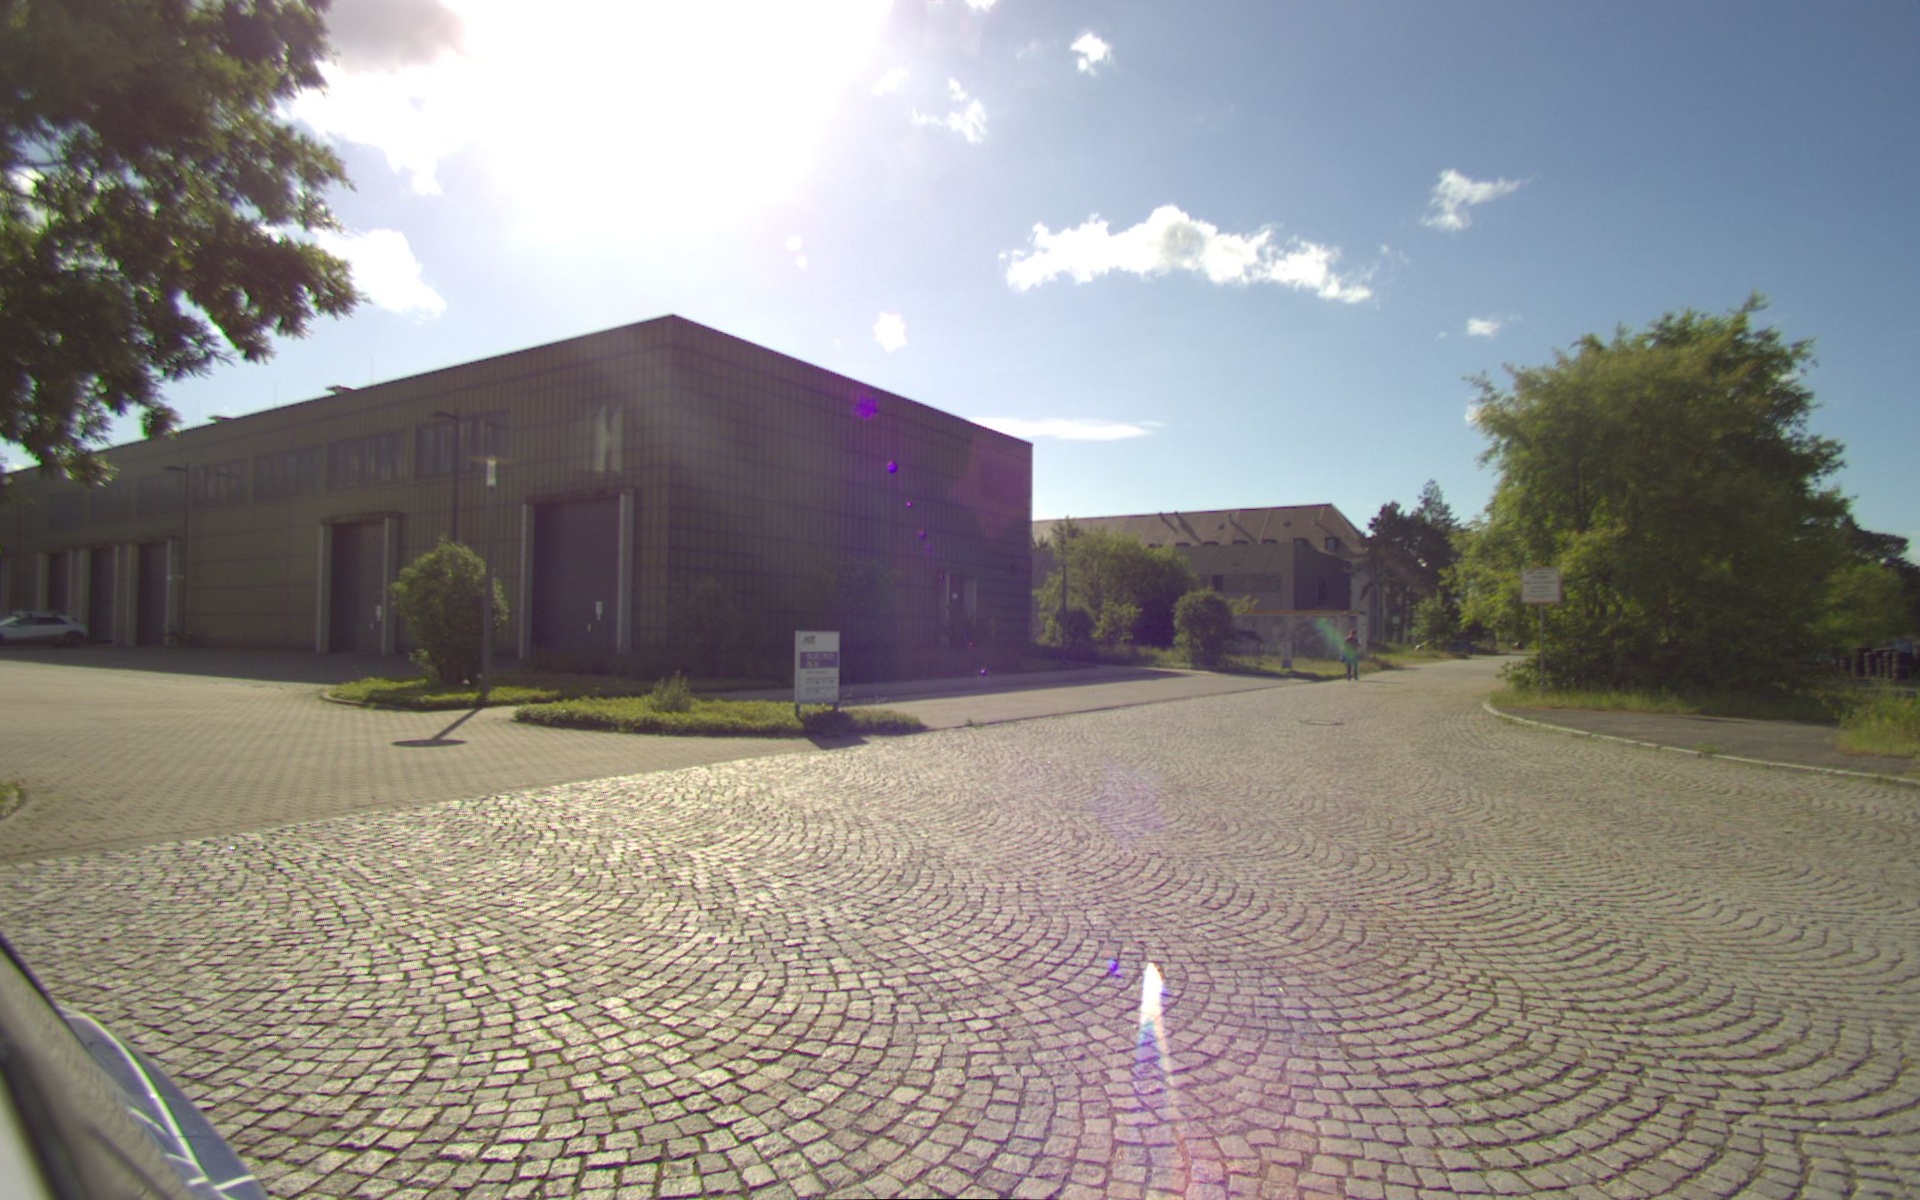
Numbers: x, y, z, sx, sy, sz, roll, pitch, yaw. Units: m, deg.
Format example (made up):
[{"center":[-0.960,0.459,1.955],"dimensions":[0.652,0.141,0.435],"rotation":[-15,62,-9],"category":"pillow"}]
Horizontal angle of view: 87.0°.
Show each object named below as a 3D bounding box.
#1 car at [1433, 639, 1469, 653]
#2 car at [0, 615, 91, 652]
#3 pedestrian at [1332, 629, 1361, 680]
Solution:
[{"center":[45.404,4.227,93.678],"dimensions":[2.894,1.269,1.277],"rotation":[-1,-2,24],"category":"car"},{"center":[-43.760,1.549,47.193],"dimensions":[1.993,1.675,4.531],"rotation":[-1,-2,31],"category":"car"},{"center":[14.059,1.976,36.776],"dimensions":[0.794,1.794,1.057],"rotation":[1,-2,31],"category":"pedestrian"}]
